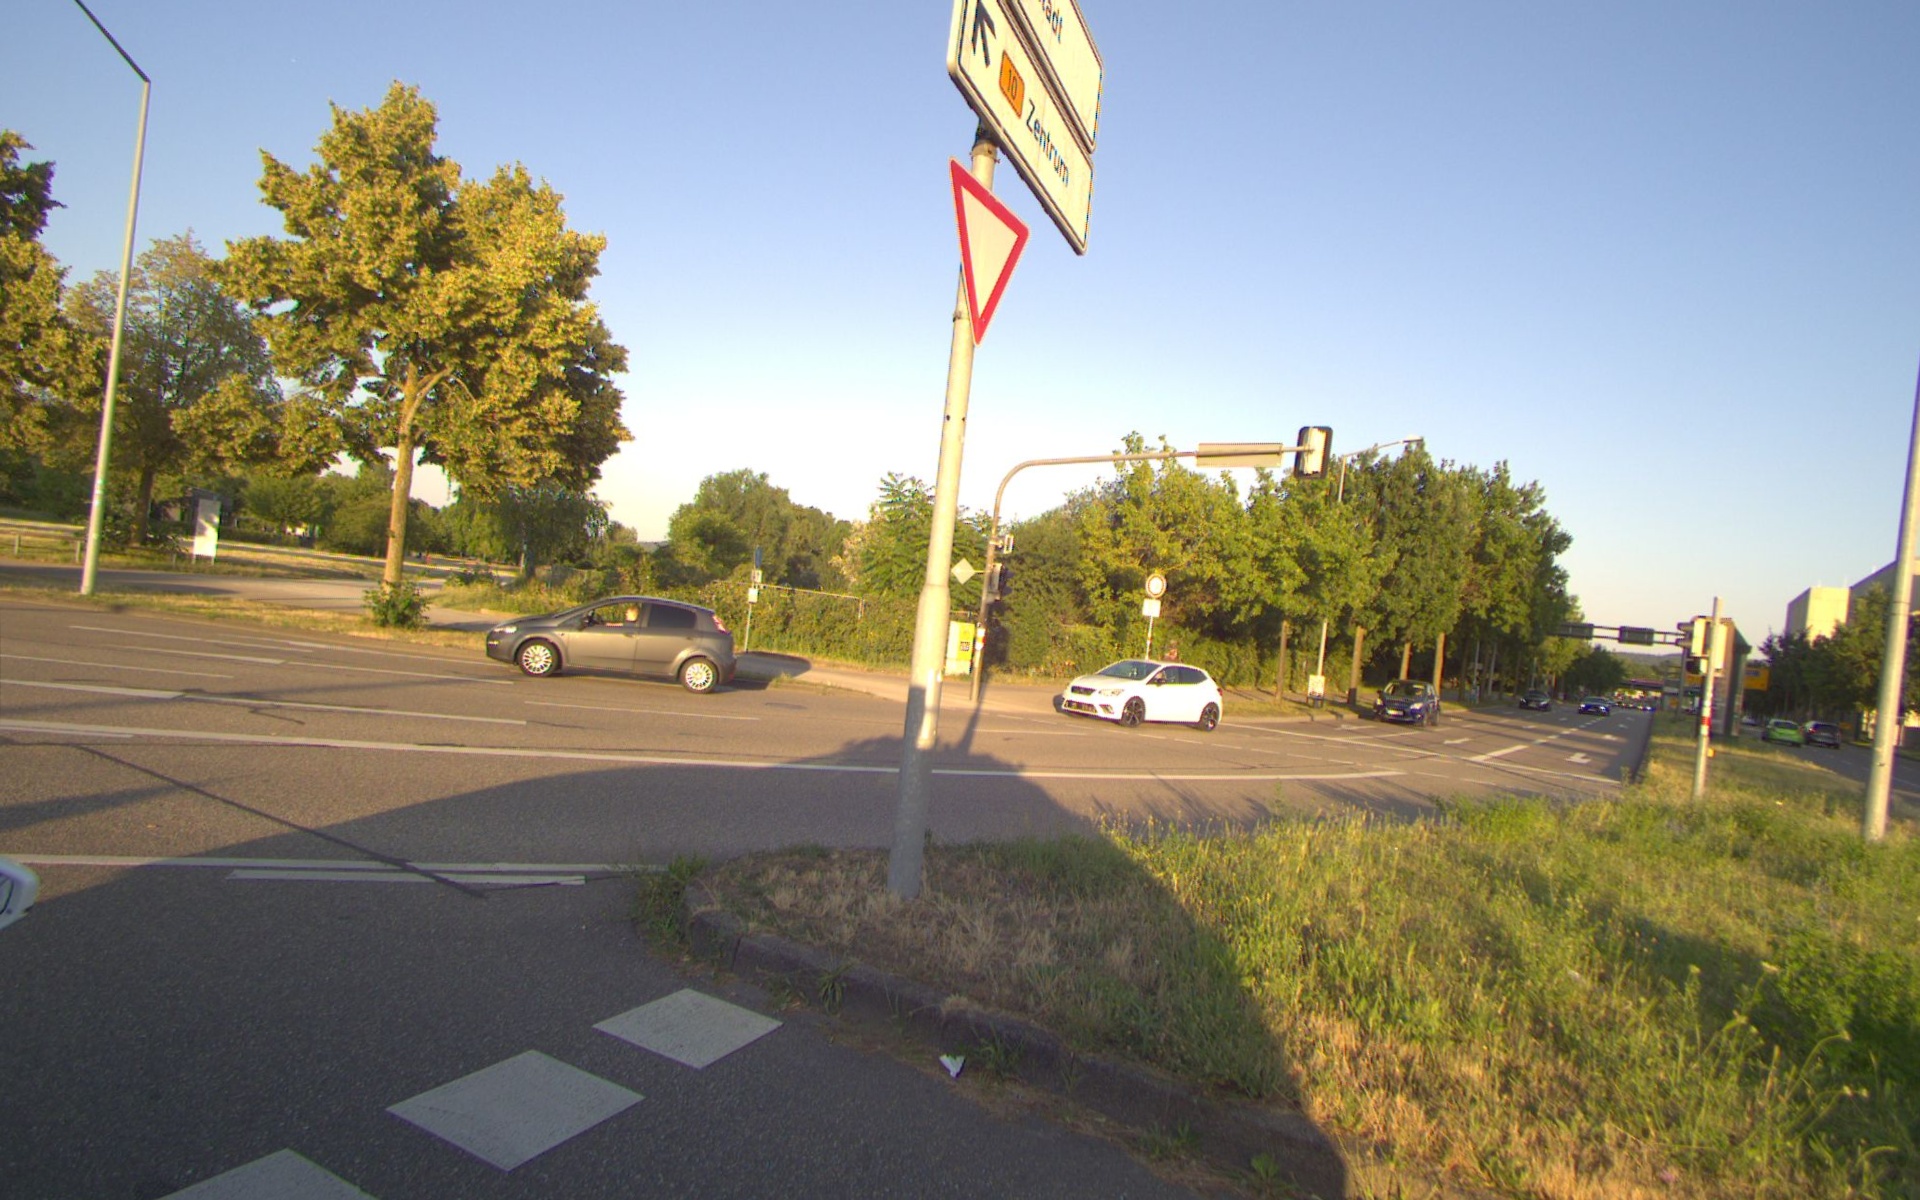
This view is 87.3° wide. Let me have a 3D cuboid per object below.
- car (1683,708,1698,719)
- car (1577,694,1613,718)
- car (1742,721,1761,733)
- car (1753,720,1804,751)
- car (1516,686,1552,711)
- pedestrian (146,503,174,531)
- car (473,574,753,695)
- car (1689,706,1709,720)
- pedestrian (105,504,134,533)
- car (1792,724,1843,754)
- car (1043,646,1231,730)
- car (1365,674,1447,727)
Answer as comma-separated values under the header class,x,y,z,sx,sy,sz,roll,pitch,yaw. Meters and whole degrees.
class,x,y,z,sx,sy,sz,roll,pitch,yaw
car,129.246,20.010,178.007,1.968,1.648,3.990,7,-1,34
car,48.403,8.077,76.643,1.969,1.523,4.758,7,-1,35
car,122.399,19.587,155.502,1.969,1.444,4.186,6,-1,36
car,49.646,8.209,61.084,1.661,1.437,3.993,7,-1,31
car,42.456,7.317,74.308,1.967,1.523,4.612,6,-1,33
pedestrian,-51.586,-5.360,64.844,0.896,1.637,1.070,7,0,34
car,-5.727,0.598,16.955,4.100,1.470,1.862,7,-2,-17
car,105.118,16.015,143.185,1.968,1.648,3.991,7,-1,34
pedestrian,-53.068,-5.119,63.506,0.896,1.637,1.070,7,0,34
car,57.256,9.267,67.234,1.705,1.596,4.322,7,-1,31
car,3.893,1.925,21.826,3.942,1.471,1.848,7,-3,-40
car,16.360,3.665,36.785,1.886,1.602,4.170,6,-1,35
